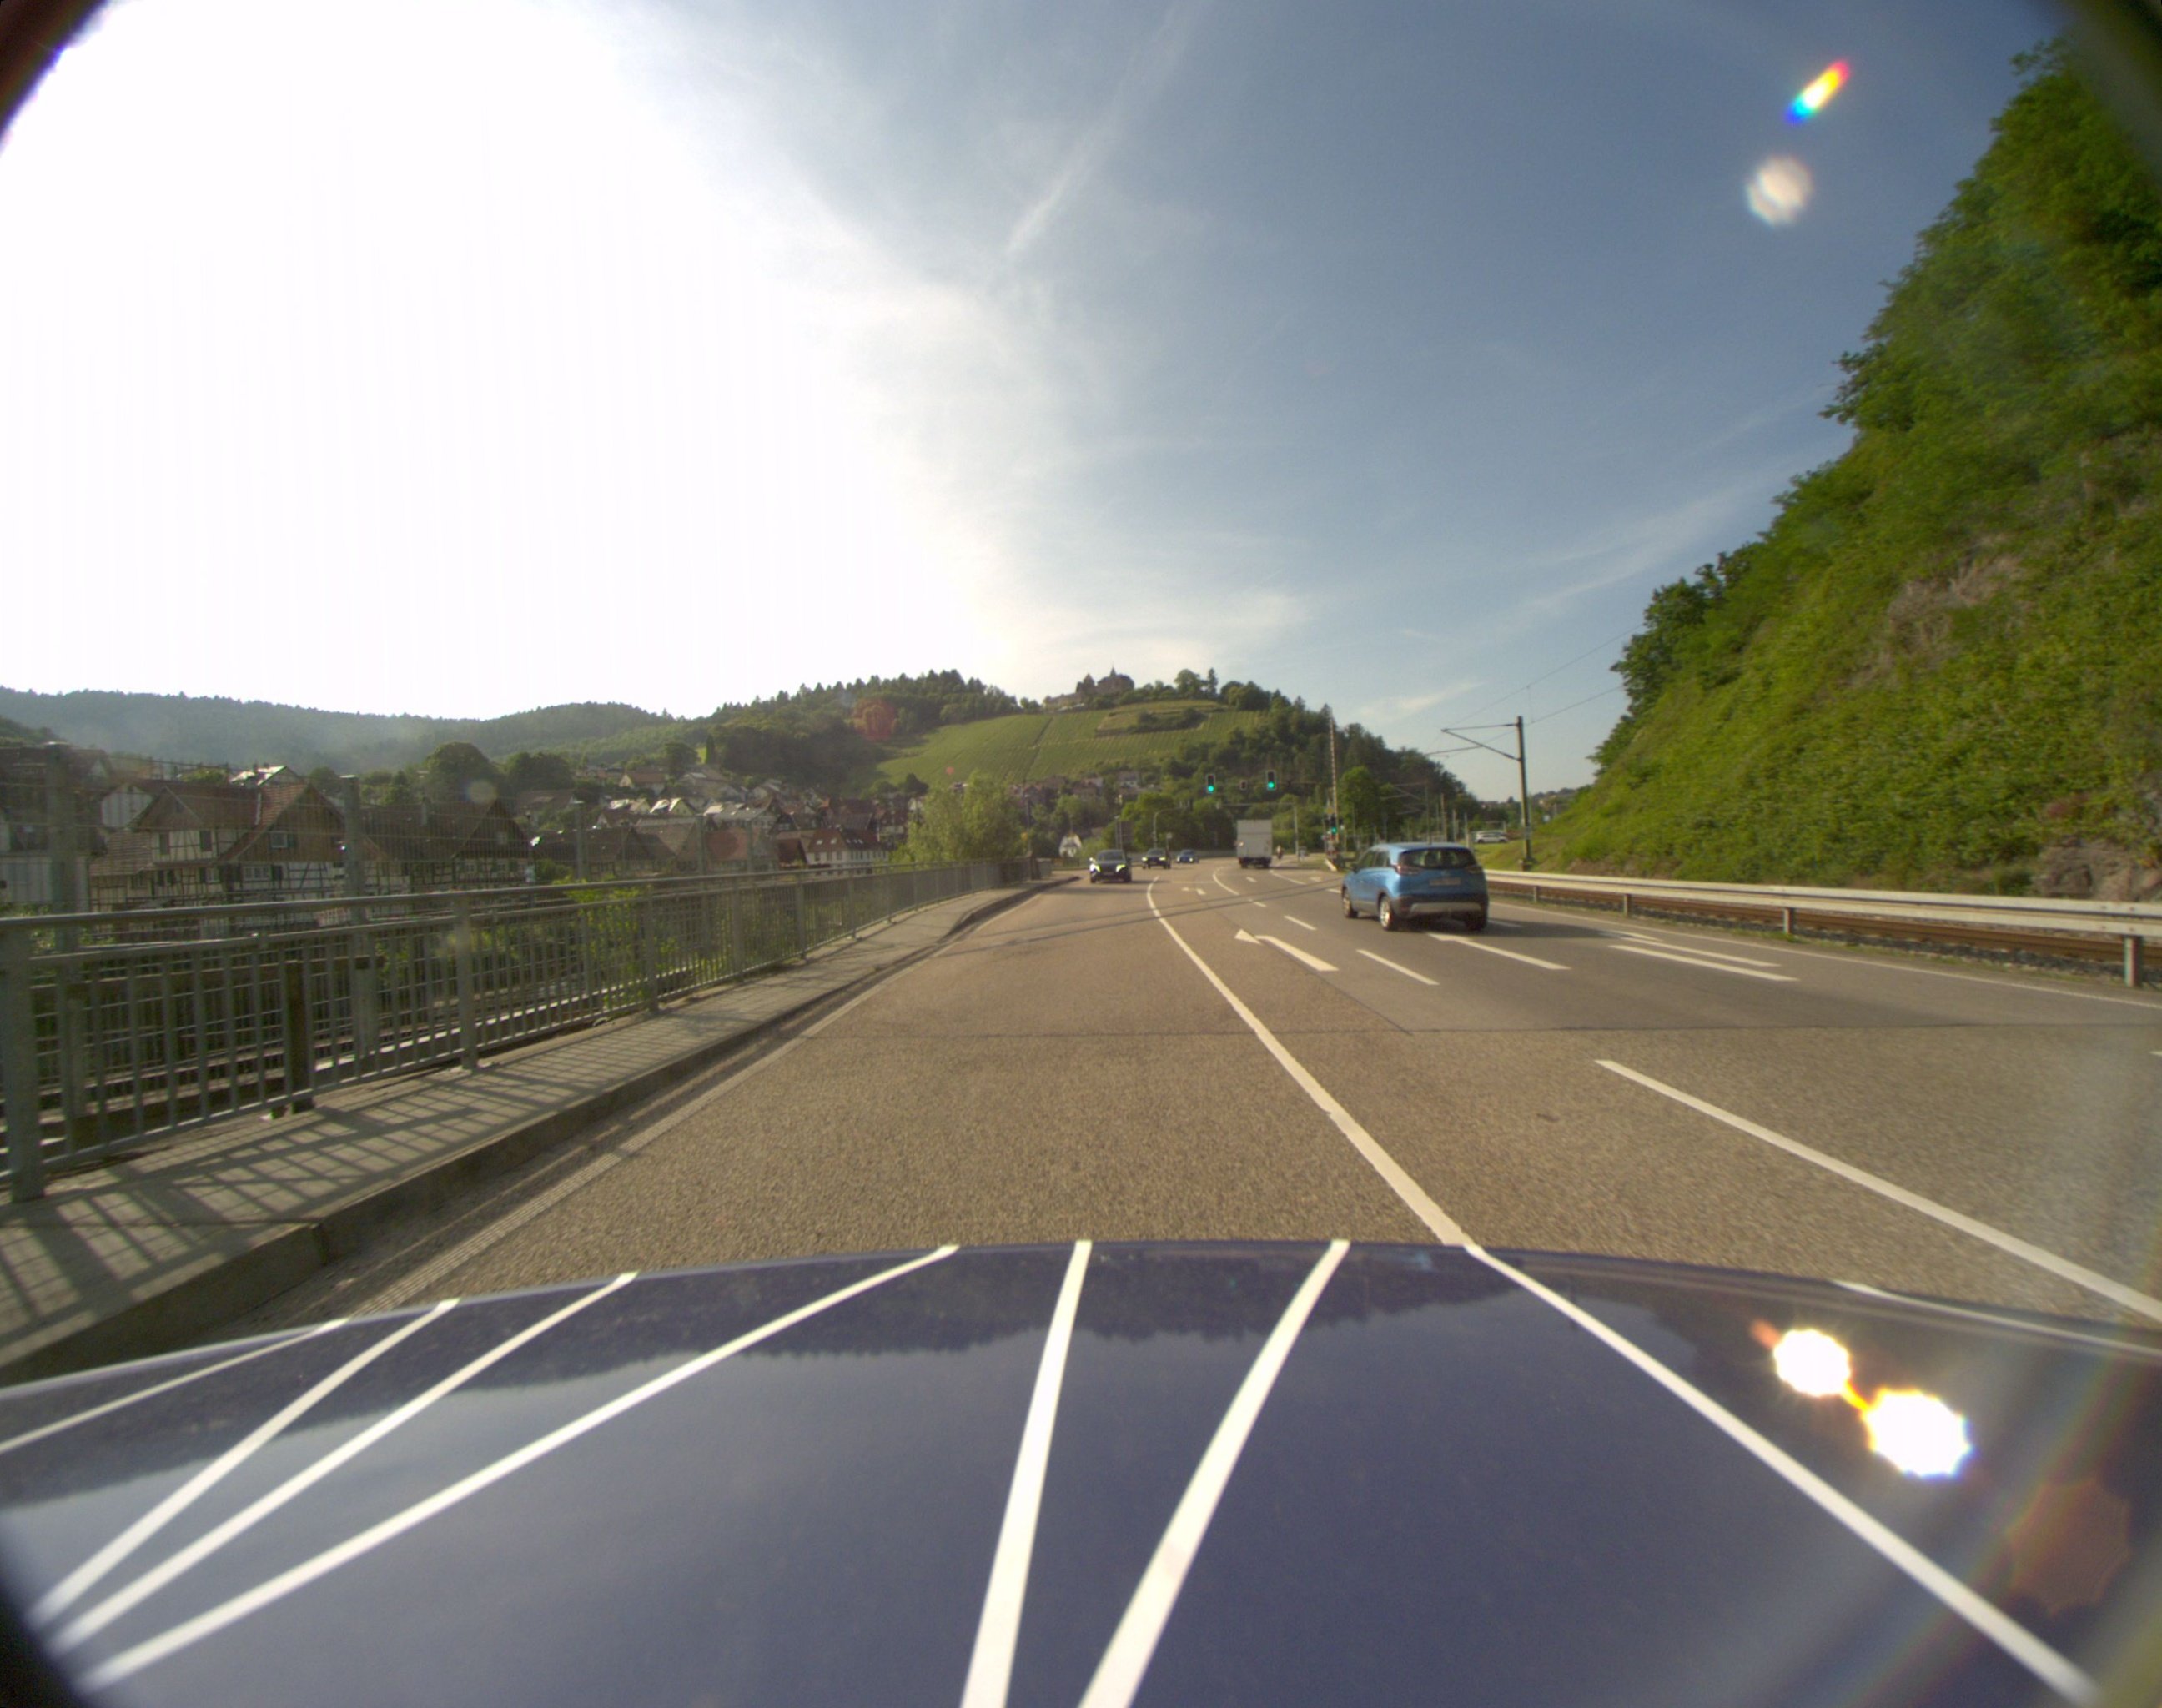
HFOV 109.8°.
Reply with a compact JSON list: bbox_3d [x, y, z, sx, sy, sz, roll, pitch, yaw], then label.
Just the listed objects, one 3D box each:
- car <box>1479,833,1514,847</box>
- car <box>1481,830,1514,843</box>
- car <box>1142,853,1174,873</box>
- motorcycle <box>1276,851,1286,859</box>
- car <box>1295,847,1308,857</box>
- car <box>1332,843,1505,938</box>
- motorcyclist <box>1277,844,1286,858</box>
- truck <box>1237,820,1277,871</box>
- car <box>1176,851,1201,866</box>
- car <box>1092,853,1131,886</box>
[{"bbox_3d":[55.836,-1.865,102.051,3.989,1.740,1.643,-2,1,31],"label":"car"},{"bbox_3d":[64.377,-2.646,117.485,4.442,1.793,2.003,-2,1,29],"label":"car"},{"bbox_3d":[6.256,0.717,61.196,1.996,1.384,4.004,-2,0,14],"label":"car"},{"bbox_3d":[25.398,0.101,96.554,0.825,0.948,2.221,-5,0,24],"label":"motorcycle"},{"bbox_3d":[36.823,-0.358,126.798,1.694,1.647,4.177,-1,1,22],"label":"car"},{"bbox_3d":[6.292,0.582,14.700,1.722,1.561,4.135,-1,1,4],"label":"car"},{"bbox_3d":[25.466,-0.383,96.551,1.007,1.706,0.866,-1,2,22],"label":"motorcyclist"},{"bbox_3d":[14.149,-0.672,61.434,2.901,3.777,8.901,-2,0,12],"label":"truck"},{"bbox_3d":[11.509,0.486,80.860,1.865,1.483,4.005,-1,1,19],"label":"car"},{"bbox_3d":[1.584,0.741,38.306,1.862,1.576,4.001,-1,0,4],"label":"car"}]
